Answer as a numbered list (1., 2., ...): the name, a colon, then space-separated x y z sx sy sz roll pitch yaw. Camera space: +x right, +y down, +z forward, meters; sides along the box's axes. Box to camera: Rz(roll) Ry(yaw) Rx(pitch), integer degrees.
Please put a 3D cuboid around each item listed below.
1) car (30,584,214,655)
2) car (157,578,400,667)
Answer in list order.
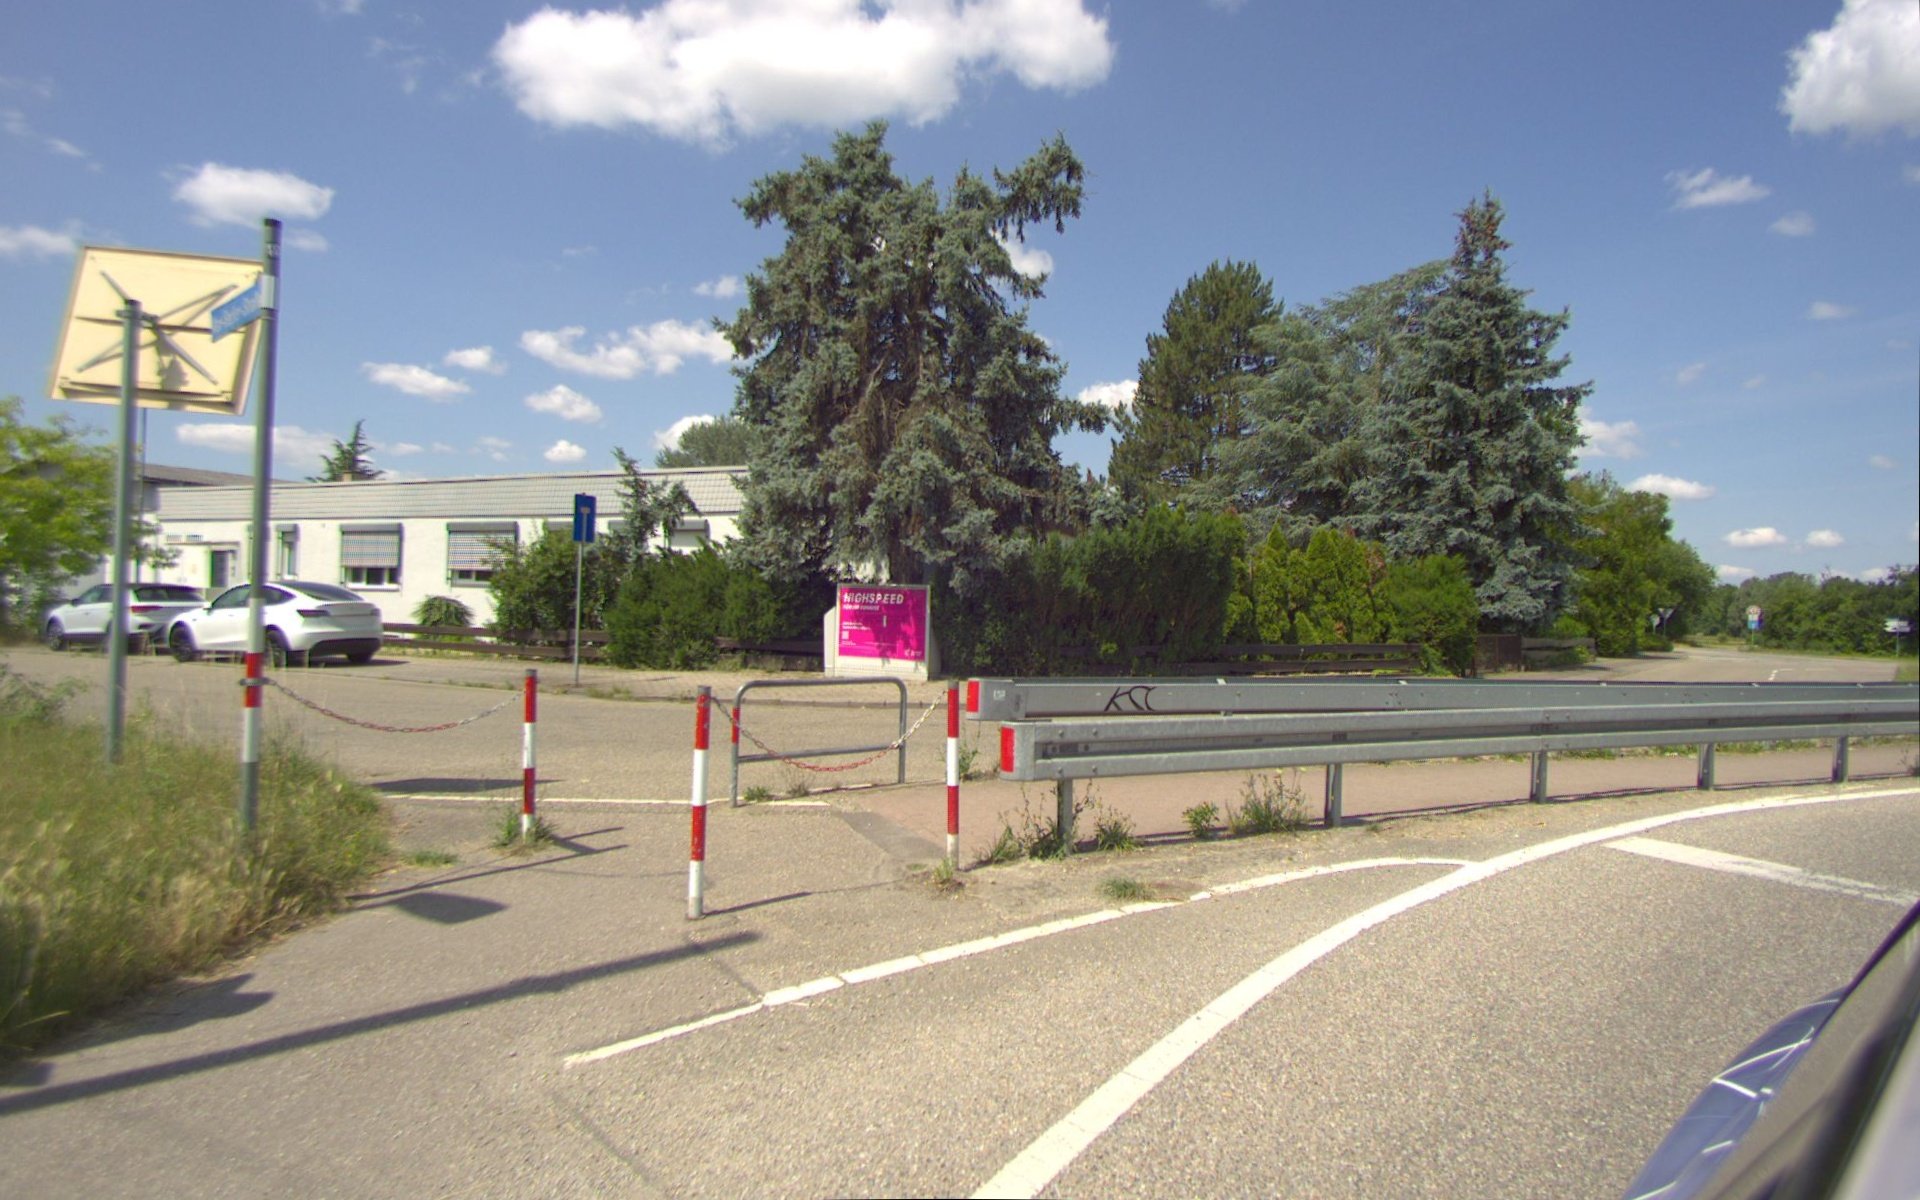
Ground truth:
1. car: -18.905 0.406 22.826 3.957 1.473 1.637 1 -1 25
2. car: -13.659 0.399 20.287 4.405 1.529 1.984 2 0 24
